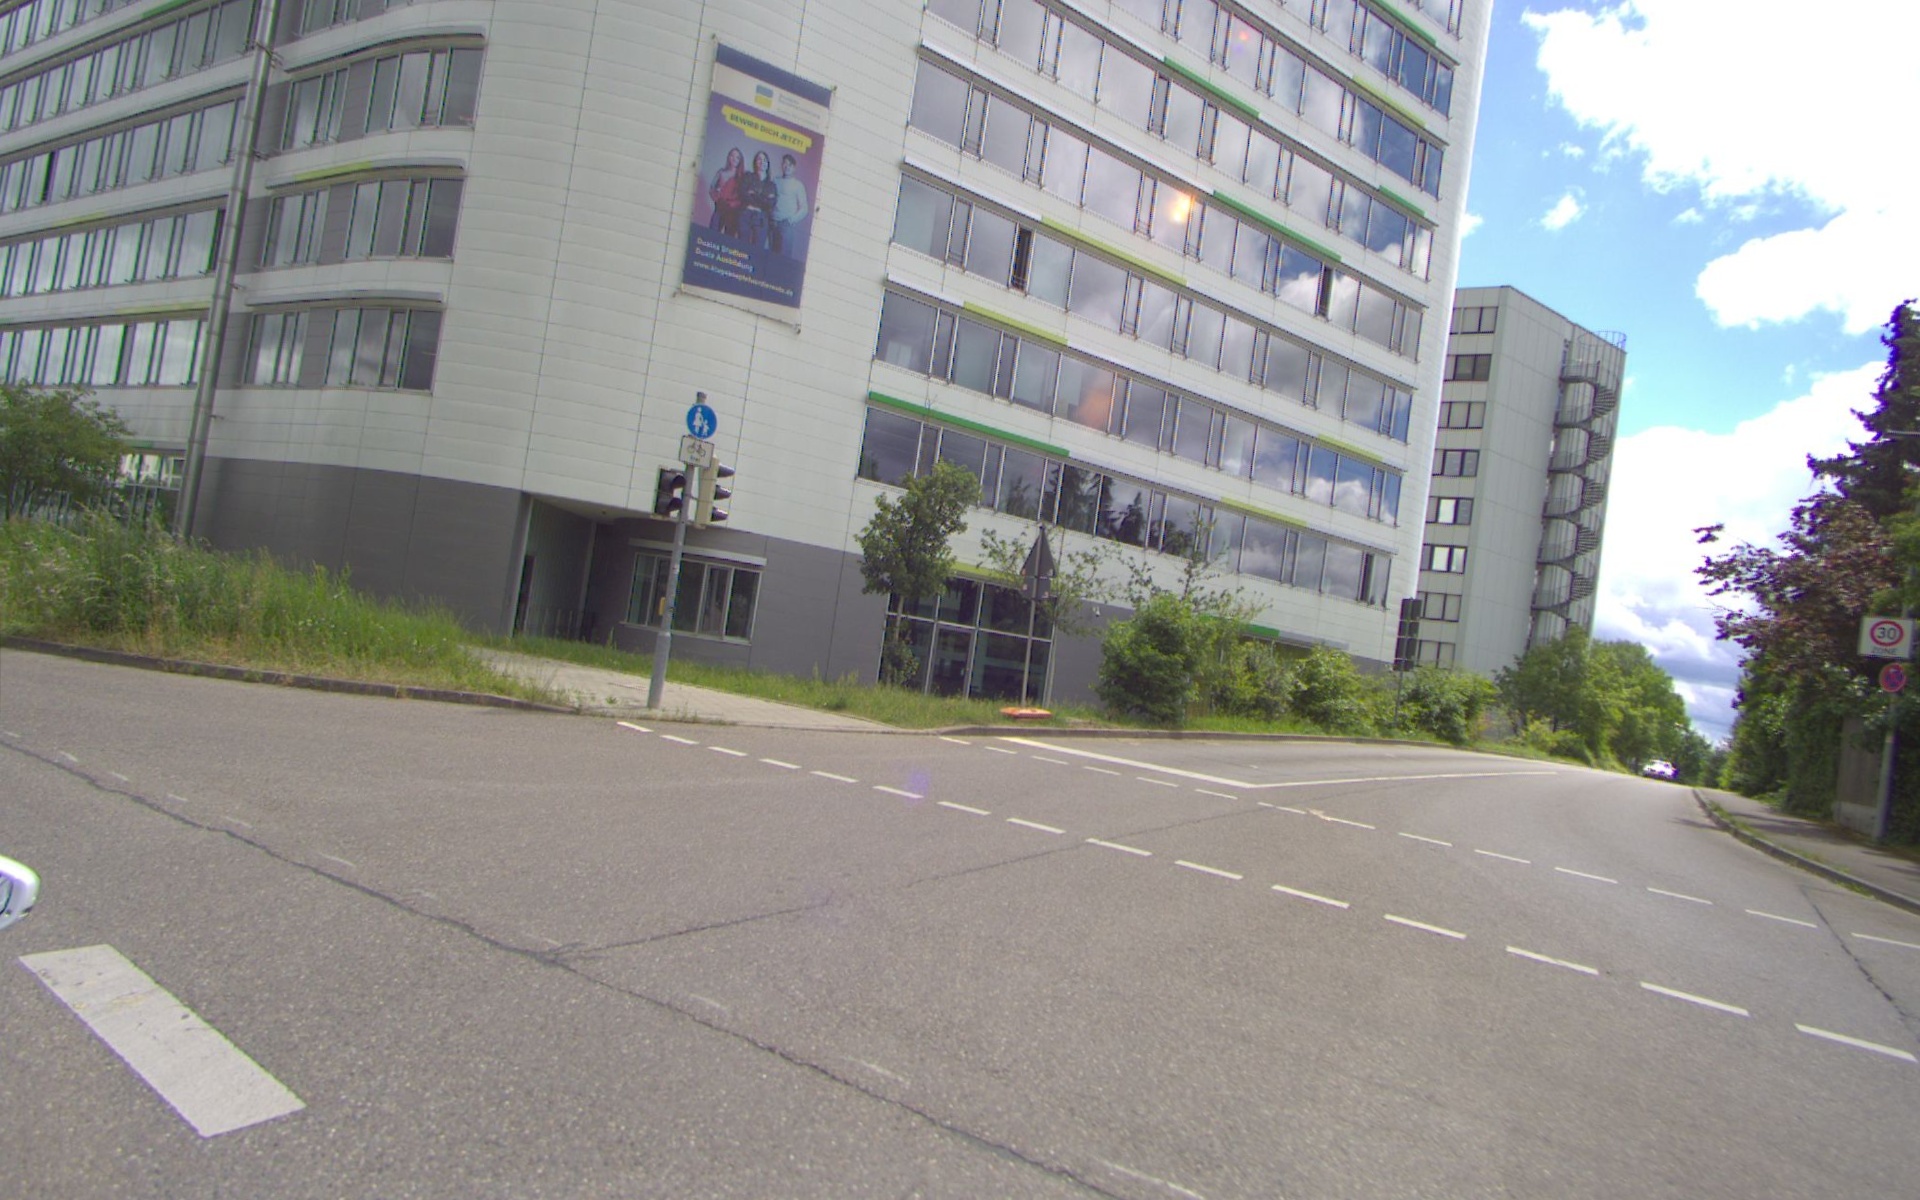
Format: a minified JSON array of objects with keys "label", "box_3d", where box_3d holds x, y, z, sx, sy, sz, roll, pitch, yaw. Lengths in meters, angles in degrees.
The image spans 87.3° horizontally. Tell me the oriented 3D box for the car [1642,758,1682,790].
[{"label":"car","box_3d":[53.853,13.373,77.157,1.972,2.035,3.988,6,-4,40]}]
